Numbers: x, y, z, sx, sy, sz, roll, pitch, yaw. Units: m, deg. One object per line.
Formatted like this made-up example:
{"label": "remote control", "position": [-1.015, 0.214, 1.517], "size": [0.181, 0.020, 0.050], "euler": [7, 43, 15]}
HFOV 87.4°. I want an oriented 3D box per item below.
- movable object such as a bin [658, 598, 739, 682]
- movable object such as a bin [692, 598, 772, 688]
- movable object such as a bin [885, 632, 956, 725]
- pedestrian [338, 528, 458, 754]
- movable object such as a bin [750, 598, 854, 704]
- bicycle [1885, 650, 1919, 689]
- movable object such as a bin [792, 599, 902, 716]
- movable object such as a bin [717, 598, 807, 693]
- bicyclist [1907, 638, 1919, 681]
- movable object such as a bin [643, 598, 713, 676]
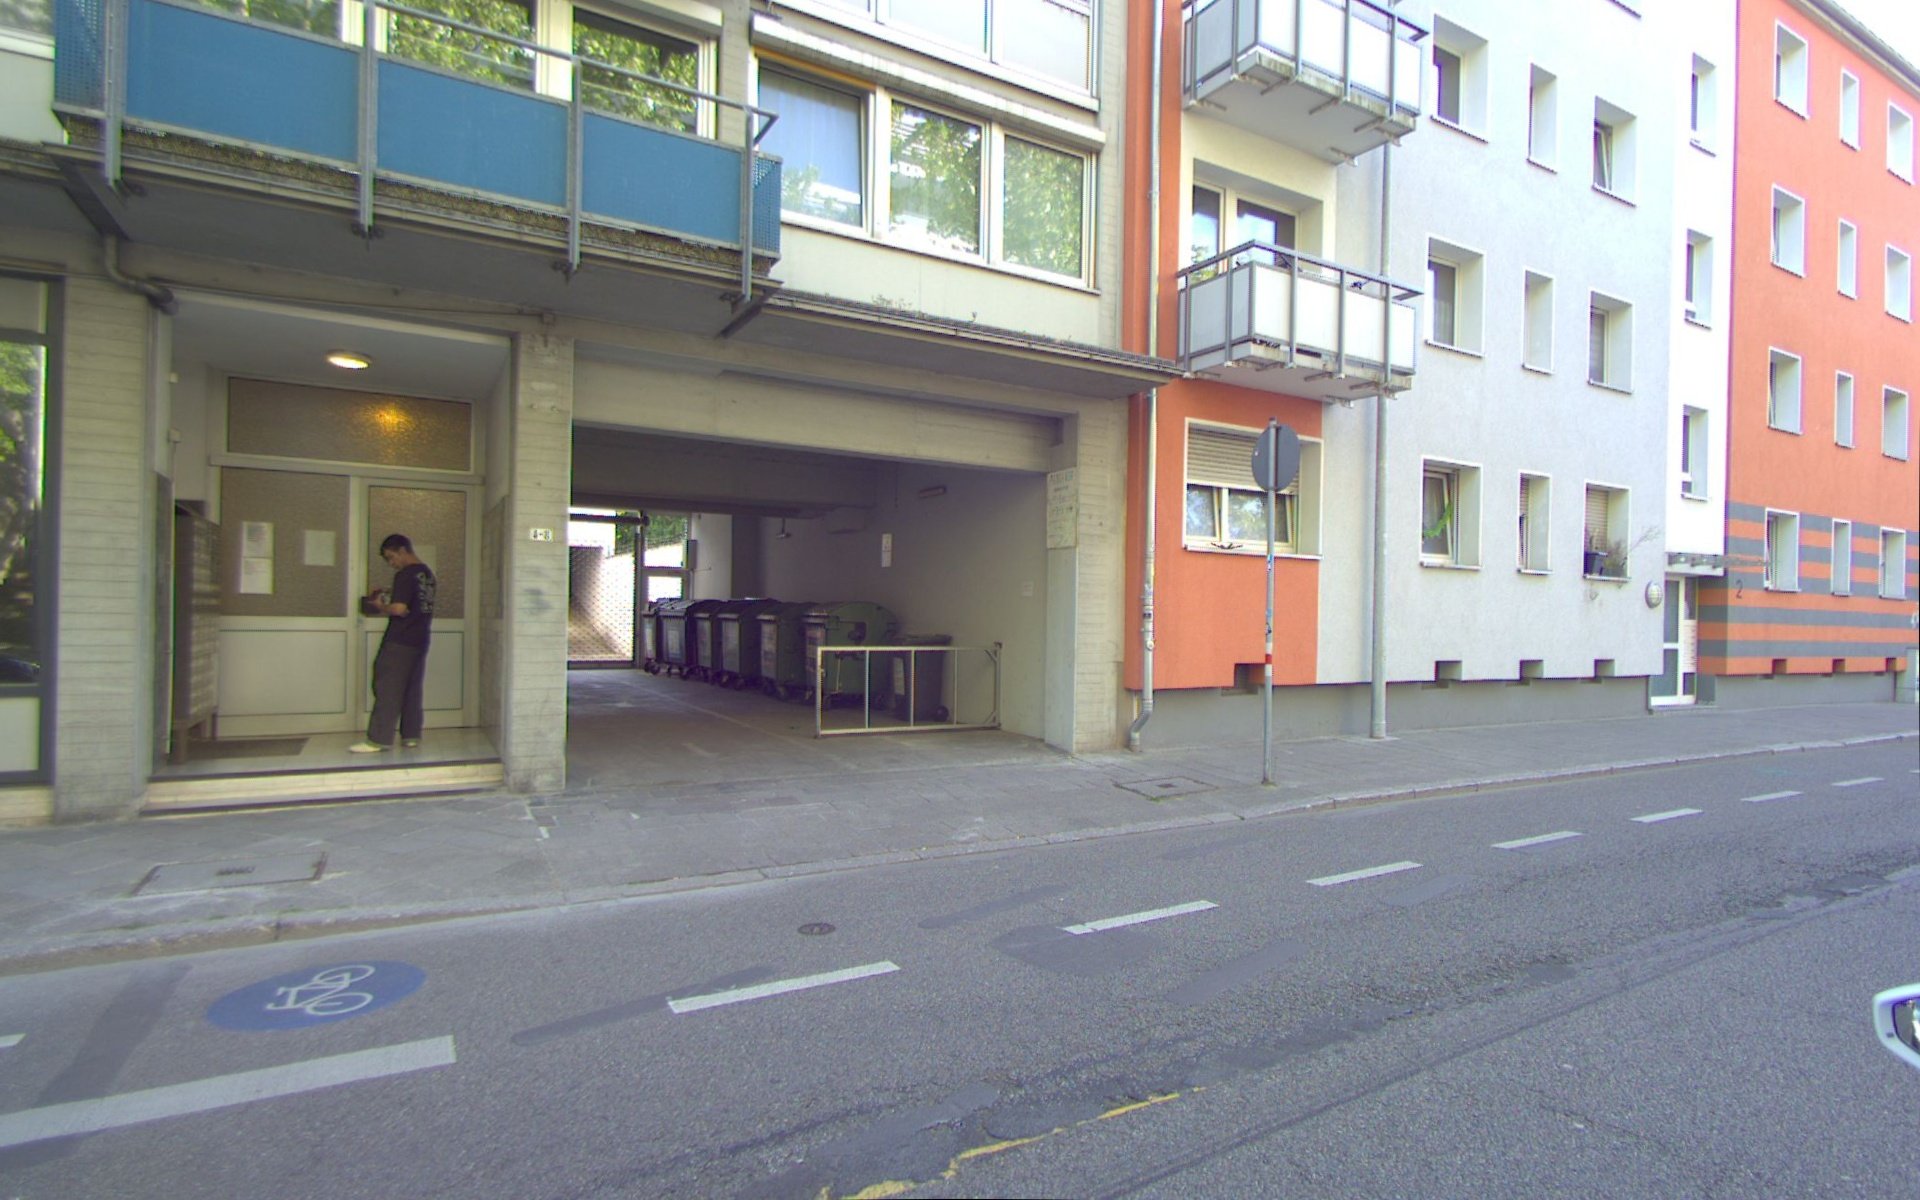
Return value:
{"label": "movable object such as a bin", "position": [-4.880, 0.723, 18.692], "size": [1.167, 1.503, 1.215], "euler": [1, 0, -30]}
{"label": "movable object such as a bin", "position": [-4.014, 0.735, 17.638], "size": [1.080, 1.503, 1.159], "euler": [1, 0, -30]}
{"label": "movable object such as a bin", "position": [-0.494, 0.954, 12.460], "size": [0.687, 1.094, 0.579], "euler": [1, 0, -30]}
{"label": "pedestrian", "position": [-4.509, 0.321, 8.093], "size": [0.537, 1.736, 0.662], "euler": [1, 0, 3]}
{"label": "movable object such as a bin", "position": [-2.395, 0.744, 15.157], "size": [1.167, 1.503, 1.252], "euler": [1, 0, -30]}
{"label": "bicycle", "position": [26.816, 1.949, 27.594], "size": [0.643, 1.041, 1.973], "euler": [1, 0, -27]}
{"label": "movable object such as a bin", "position": [-1.562, 0.752, 13.780], "size": [1.086, 1.503, 1.251], "euler": [1, 0, -30]}
{"label": "movable object such as a bin", "position": [-3.292, 0.737, 16.643], "size": [1.167, 1.503, 1.073], "euler": [1, 0, -30]}
{"label": "bicyclist", "position": [26.810, 1.656, 27.600], "size": [0.612, 1.169, 0.987], "euler": [1, 0, -27]}
{"label": "movable object such as a bin", "position": [-5.602, 0.721, 19.957], "size": [1.167, 1.503, 0.819], "euler": [1, 0, -30]}
